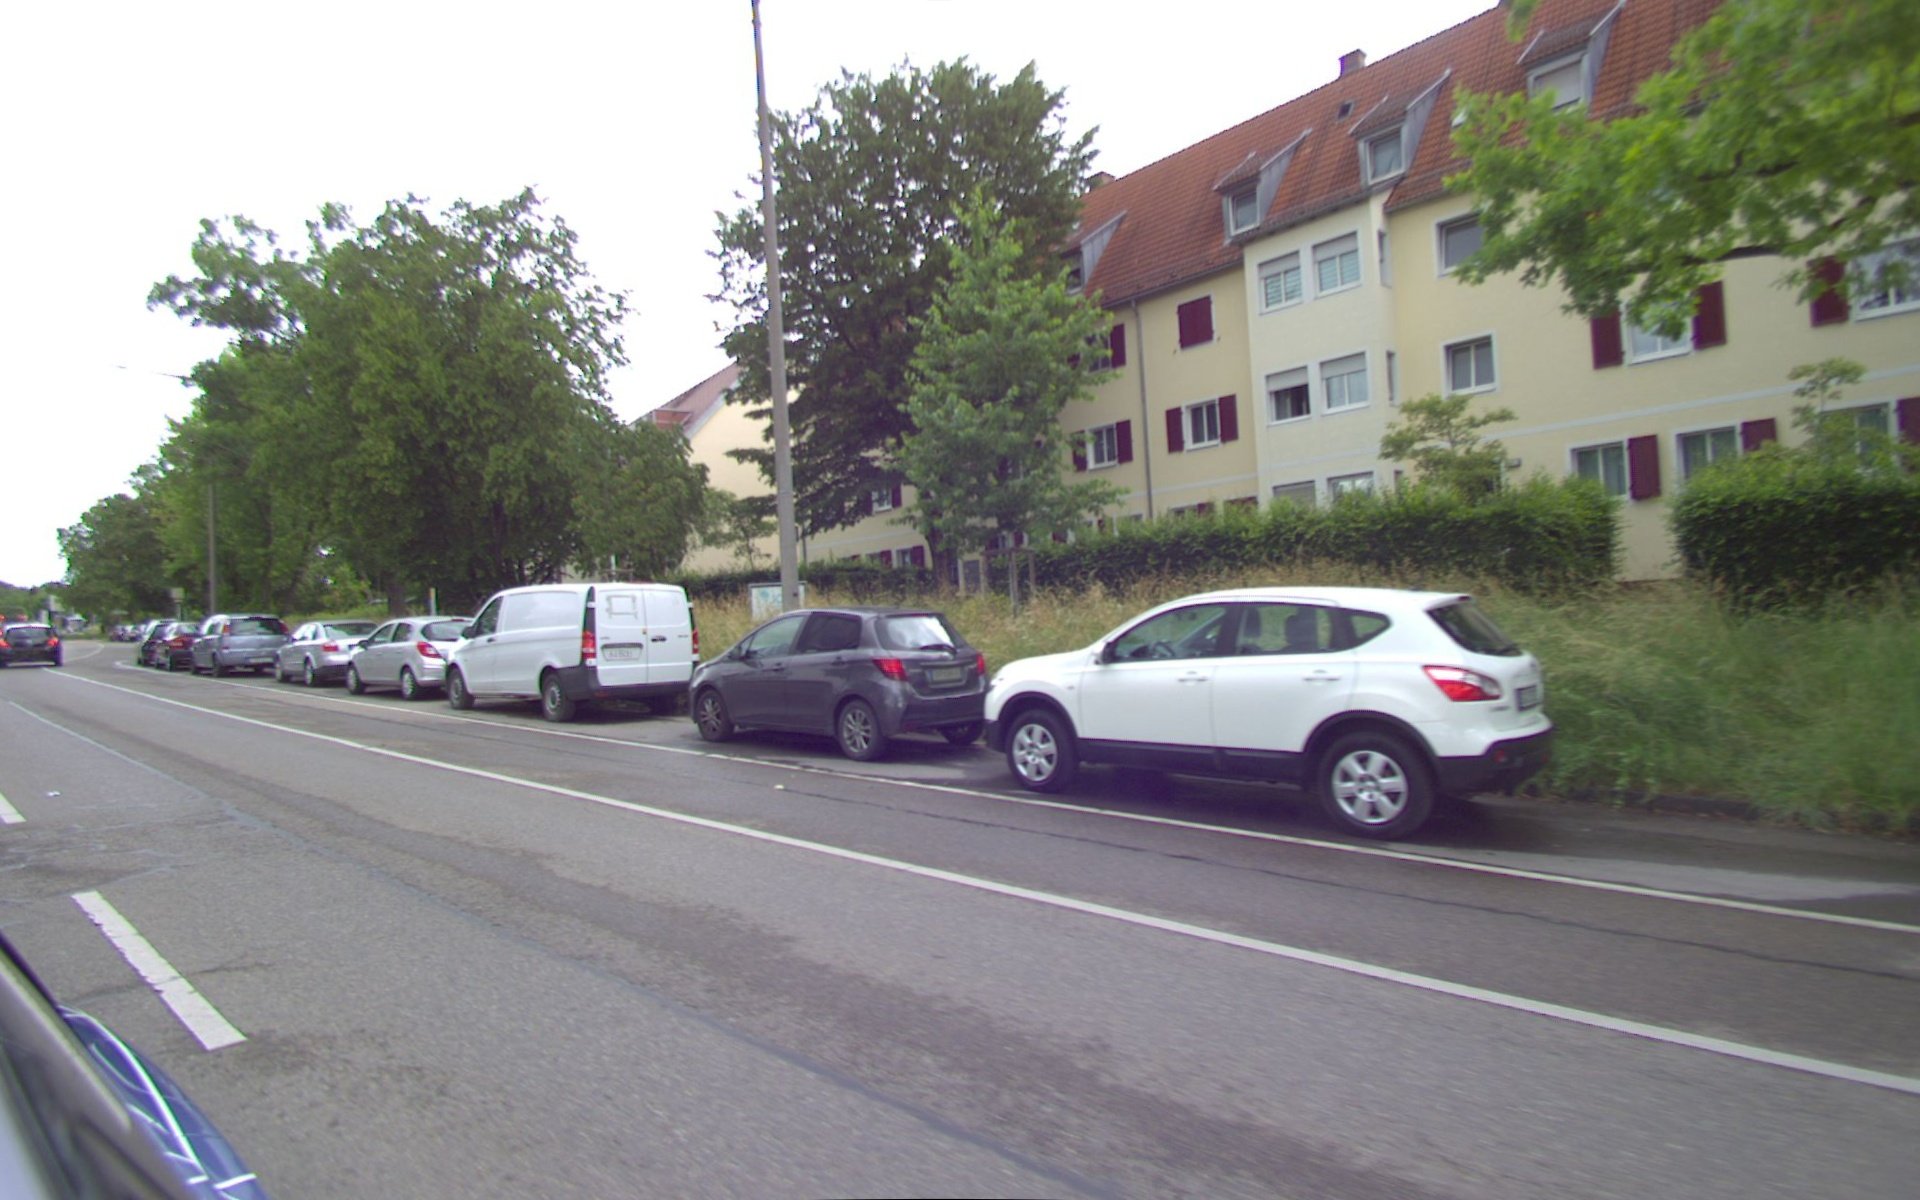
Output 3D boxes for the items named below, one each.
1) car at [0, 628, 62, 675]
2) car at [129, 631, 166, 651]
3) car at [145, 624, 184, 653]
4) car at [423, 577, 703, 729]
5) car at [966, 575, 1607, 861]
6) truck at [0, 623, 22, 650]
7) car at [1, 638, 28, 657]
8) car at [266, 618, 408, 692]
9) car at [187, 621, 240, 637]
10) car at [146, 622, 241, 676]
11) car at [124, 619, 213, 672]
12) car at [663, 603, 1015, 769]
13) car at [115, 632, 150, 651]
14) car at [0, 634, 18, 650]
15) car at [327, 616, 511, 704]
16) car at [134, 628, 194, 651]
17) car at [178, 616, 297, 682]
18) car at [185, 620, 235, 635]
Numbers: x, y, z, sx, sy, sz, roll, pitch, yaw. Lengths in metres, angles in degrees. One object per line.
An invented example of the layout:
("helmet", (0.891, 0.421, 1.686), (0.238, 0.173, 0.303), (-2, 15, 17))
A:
("car", (-31.872, 1.720, 34.680), (1.617, 1.478, 4.006), (0, -1, -41))
("car", (-67.132, 3.386, 83.607), (4.000, 1.518, 1.855), (-2, 0, 43))
("car", (-51.135, 2.445, 65.071), (1.851, 1.679, 4.399), (-2, 1, -38))
("car", (-6.174, 0.742, 15.372), (5.152, 1.945, 1.750), (-2, 0, 41))
("car", (2.209, 0.685, 7.615), (4.279, 1.576, 1.656), (-1, -1, 41))
("truck", (-133.400, 5.111, 141.782), (2.790, 3.507, 7.832), (-1, -1, -42))
("car", (-93.496, 4.670, 100.089), (1.853, 1.582, 4.342), (-2, 1, -44))
("car", (-14.232, 1.202, 23.018), (4.358, 1.507, 1.748), (-2, -2, 44))
("car", (-97.260, 3.722, 131.866), (2.012, 2.029, 5.226), (-1, -2, 43))
("car", (-23.278, 1.460, 30.674), (1.748, 1.458, 4.151), (-1, -1, -45))
("car", (-26.681, 1.485, 34.058), (1.853, 1.582, 4.654), (-2, 0, -44))
("car", (-1.469, 0.826, 11.160), (4.045, 1.499, 1.655), (-1, -2, 43))
("car", (-71.670, 3.600, 87.636), (4.057, 1.518, 1.855), (-2, 0, 43))
("car", (-112.216, 4.968, 118.943), (4.407, 1.783, 1.808), (-2, 0, 43))
("car", (-10.342, 1.101, 19.241), (3.945, 1.444, 1.619), (-2, 0, 38))
("car", (-58.033, 2.880, 73.804), (3.978, 1.518, 1.865), (-2, -1, 26))
("car", (-19.431, 1.288, 27.156), (4.133, 1.604, 1.749), (-2, -1, 42))
("car", (-102.264, 3.774, 138.081), (1.740, 2.029, 5.224), (-1, -2, 44))
